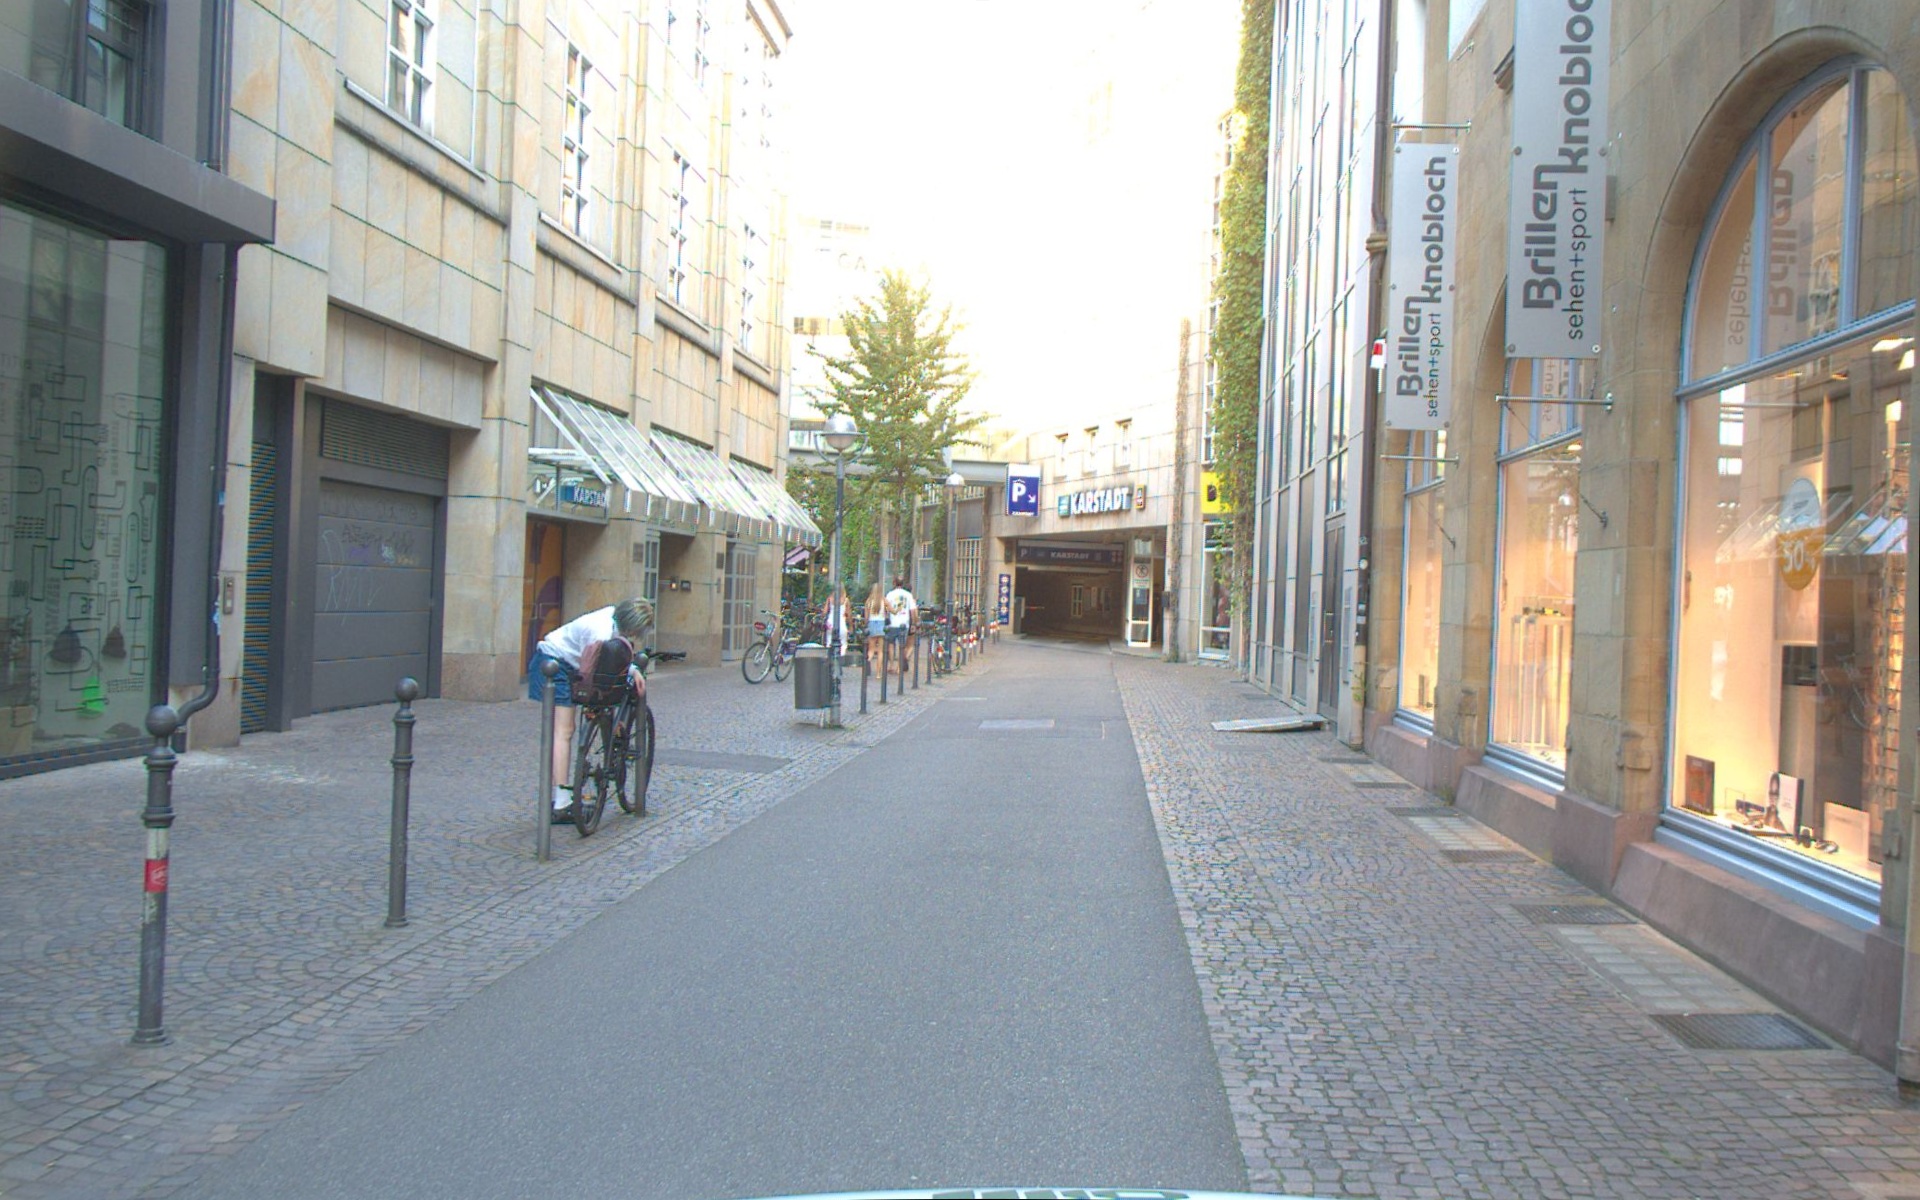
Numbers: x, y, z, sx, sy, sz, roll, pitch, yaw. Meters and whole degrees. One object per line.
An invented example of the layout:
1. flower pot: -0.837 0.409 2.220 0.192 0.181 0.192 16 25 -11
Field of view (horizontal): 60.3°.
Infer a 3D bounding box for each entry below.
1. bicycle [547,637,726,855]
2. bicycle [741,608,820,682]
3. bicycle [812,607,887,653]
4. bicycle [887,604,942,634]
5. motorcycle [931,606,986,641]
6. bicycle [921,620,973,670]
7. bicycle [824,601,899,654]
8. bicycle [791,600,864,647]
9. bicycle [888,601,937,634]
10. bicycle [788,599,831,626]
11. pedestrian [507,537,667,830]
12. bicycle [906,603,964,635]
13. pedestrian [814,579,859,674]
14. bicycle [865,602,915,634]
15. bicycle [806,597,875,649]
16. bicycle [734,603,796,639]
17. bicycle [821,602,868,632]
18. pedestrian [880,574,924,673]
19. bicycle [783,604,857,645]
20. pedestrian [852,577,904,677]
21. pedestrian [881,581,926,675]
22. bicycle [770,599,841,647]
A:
1. bicycle: -1.998 0.862 10.473 0.521 1.173 1.916 3 0 5
2. bicycle: -2.897 0.711 26.851 0.511 1.158 1.765 1 0 20
3. bicycle: -2.827 0.771 42.321 1.808 1.142 0.531 1 0 -19
4. bicycle: -1.509 0.629 54.666 1.745 0.920 0.461 1 0 -17
5. motorcycle: -0.047 0.744 52.059 1.636 1.069 0.461 1 0 -17
6. bicycle: -0.248 0.895 33.501 0.482 0.955 1.659 3 0 19
7. bicycle: -2.389 0.668 40.115 1.739 1.252 0.531 1 0 -19
8. bicycle: -3.471 0.621 43.323 1.843 1.198 0.531 1 0 -19
9. bicycle: -1.604 0.586 55.693 1.514 1.067 0.573 1 0 -17
10. bicycle: -6.454 0.540 70.958 1.743 1.134 0.541 1 0 -14
11. pedestrian: -2.340 0.508 10.437 0.752 1.748 0.592 3 0 4
12. bicycle: -0.799 0.609 53.801 1.818 0.999 0.461 1 0 -17
13. pedestrian: -2.262 0.469 30.304 0.660 1.693 0.861 2 0 2
14. bicycle: -2.556 0.668 60.393 1.745 1.134 0.540 1 0 -17
15. bicycle: -2.998 0.575 41.440 1.628 1.252 0.531 1 0 -19
16. bicycle: -5.933 0.641 50.260 1.796 1.061 0.531 1 0 -19
17. bicycle: -4.545 0.658 65.033 1.745 1.134 0.540 1 0 -17
18. pedestrian: -1.115 0.447 31.790 0.726 1.854 0.878 1 0 3
19. bicycle: -3.708 0.653 43.871 1.865 1.070 0.531 1 0 -19
20. pedestrian: -1.477 0.476 30.032 0.789 1.760 0.949 2 0 3
21. pedestrian: -1.114 0.549 32.939 0.768 1.826 0.972 1 0 4
22. bicycle: -4.167 0.623 44.579 1.805 1.246 0.531 1 0 -19
